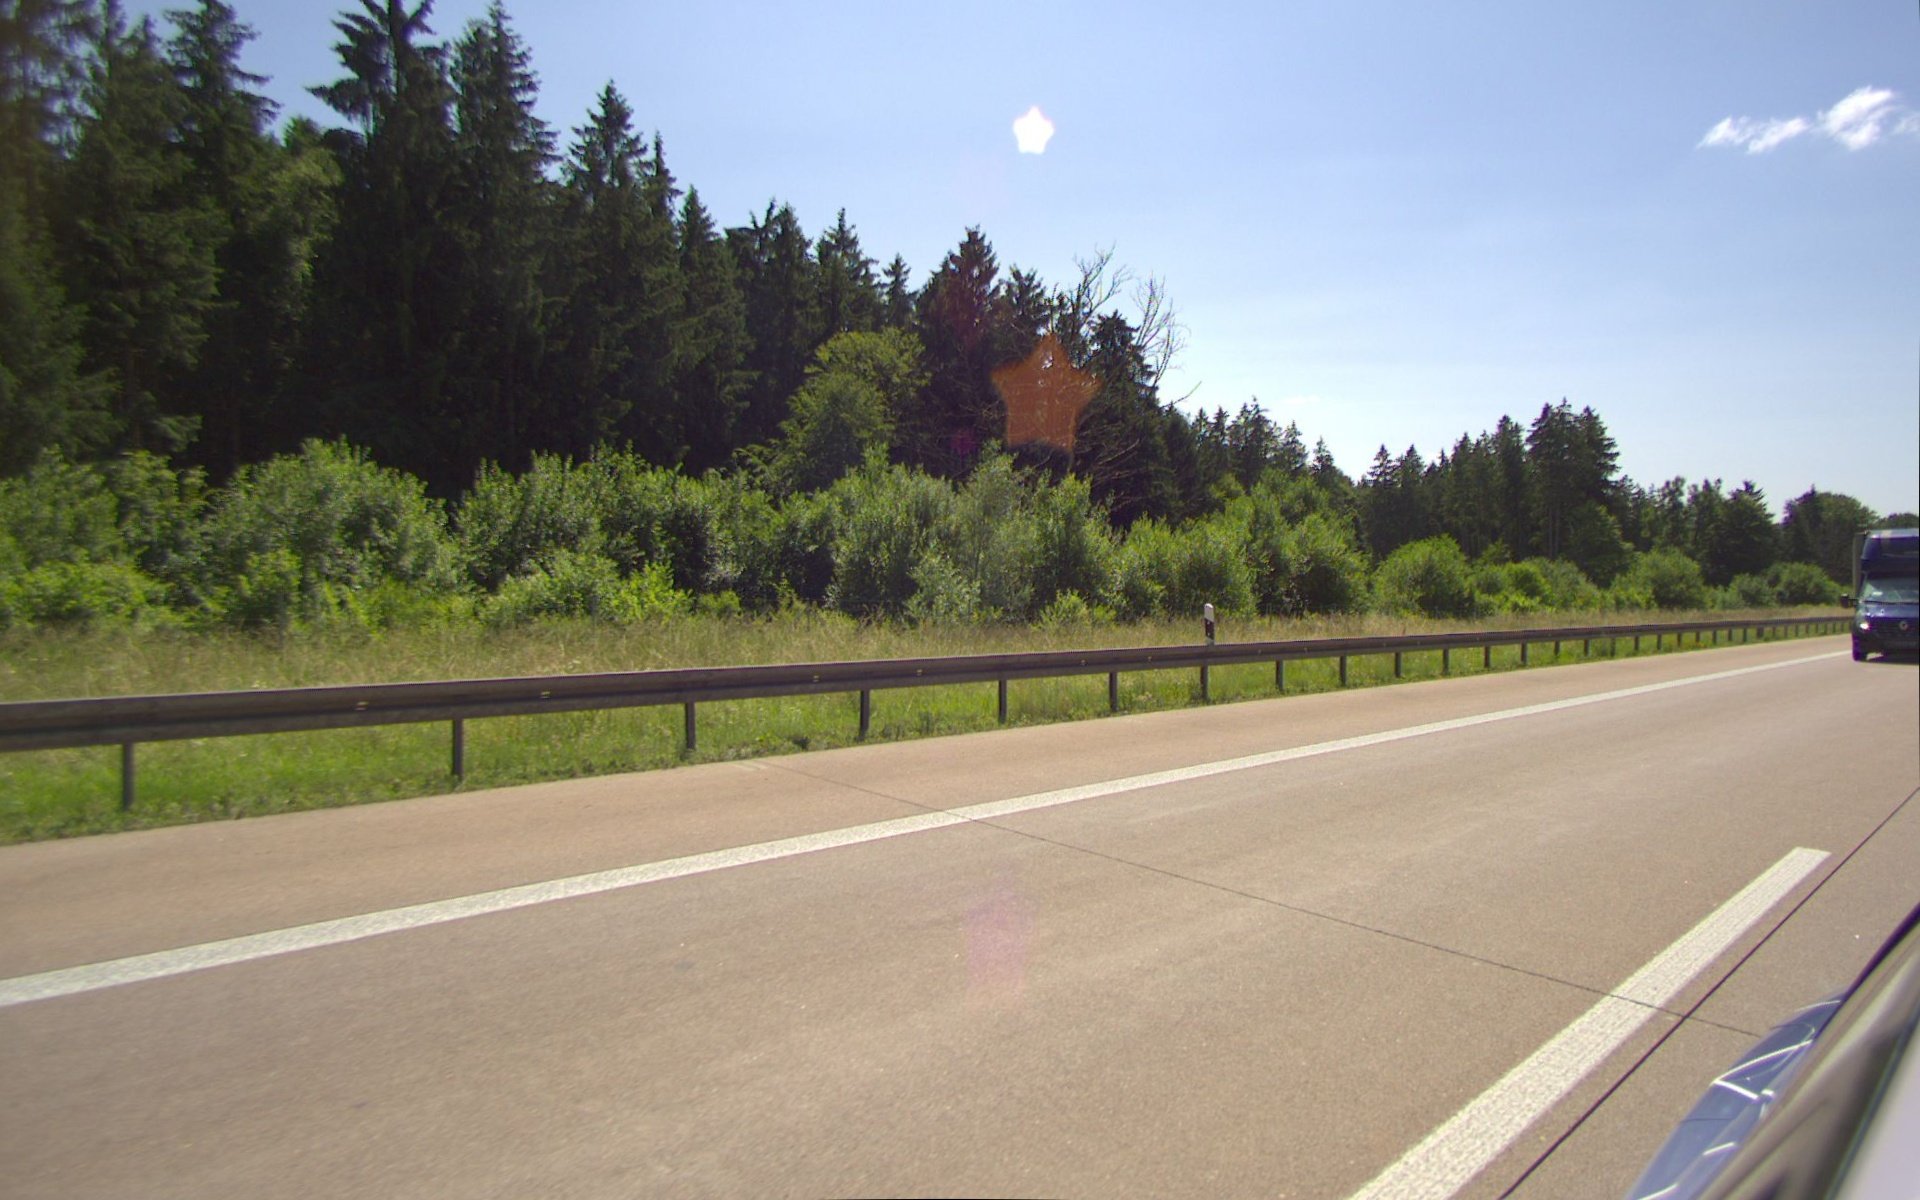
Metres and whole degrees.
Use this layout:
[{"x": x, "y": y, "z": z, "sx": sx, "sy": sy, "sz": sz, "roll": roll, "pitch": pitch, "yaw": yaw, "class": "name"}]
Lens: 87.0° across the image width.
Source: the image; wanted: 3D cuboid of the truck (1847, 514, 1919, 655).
[{"x": 25.040, "y": -0.364, "z": 25.855, "sx": 7.647, "sy": 3.259, "sz": 2.507, "roll": 0, "pitch": 1, "yaw": -40, "class": "truck"}]
